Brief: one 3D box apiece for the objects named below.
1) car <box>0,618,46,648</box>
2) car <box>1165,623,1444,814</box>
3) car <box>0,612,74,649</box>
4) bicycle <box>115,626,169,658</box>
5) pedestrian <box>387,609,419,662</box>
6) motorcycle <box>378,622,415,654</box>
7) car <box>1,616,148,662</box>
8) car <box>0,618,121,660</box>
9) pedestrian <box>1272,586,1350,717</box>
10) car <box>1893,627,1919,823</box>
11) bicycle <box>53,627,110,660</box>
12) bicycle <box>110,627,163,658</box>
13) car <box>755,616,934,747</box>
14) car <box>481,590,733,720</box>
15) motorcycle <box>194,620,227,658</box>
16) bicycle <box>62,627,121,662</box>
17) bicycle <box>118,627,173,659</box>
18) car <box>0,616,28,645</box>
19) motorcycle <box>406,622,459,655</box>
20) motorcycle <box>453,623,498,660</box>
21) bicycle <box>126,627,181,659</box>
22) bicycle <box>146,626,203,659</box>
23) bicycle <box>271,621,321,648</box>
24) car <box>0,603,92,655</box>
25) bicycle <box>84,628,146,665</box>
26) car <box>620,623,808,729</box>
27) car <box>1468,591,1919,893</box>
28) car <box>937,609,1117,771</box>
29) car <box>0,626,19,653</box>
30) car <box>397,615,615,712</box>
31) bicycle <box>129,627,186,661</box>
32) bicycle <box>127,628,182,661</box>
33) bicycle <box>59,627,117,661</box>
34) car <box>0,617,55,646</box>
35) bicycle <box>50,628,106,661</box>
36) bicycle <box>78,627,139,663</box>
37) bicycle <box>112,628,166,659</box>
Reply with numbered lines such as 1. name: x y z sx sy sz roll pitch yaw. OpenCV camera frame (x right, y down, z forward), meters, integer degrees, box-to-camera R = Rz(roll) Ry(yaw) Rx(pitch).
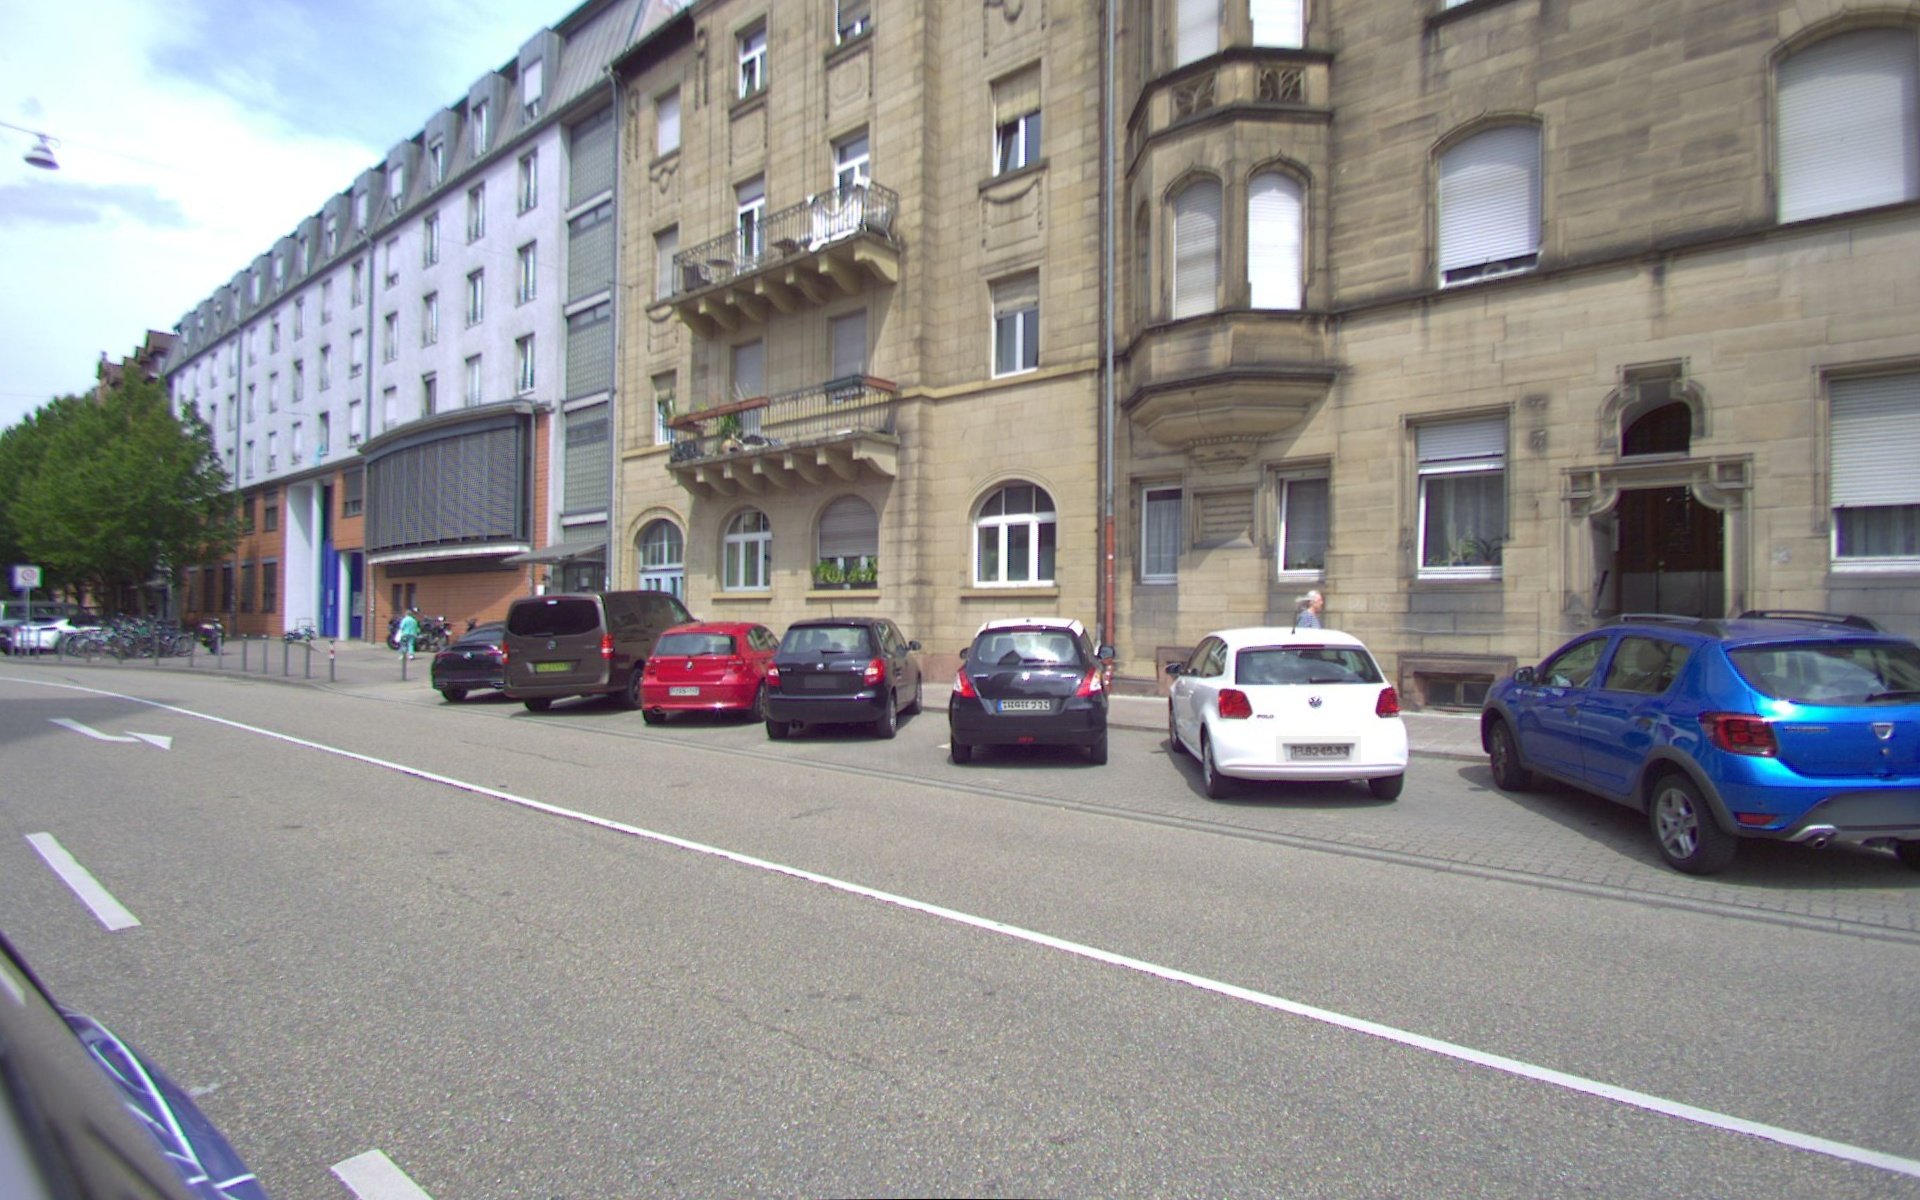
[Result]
1. car: -48.504 1.656 50.633 1.671 1.465 3.996 -1 -2 8
2. car: 3.088 0.974 9.851 1.720 1.493 3.680 0 -1 5
3. car: -42.607 1.374 45.548 1.692 1.627 3.996 -1 -2 8
4. bicycle: -27.732 1.410 34.324 0.402 1.034 1.390 -2 -1 43
5. pedestrian: -16.097 1.026 29.252 0.508 1.497 0.653 -1 -2 39
6. motorcycle: -19.260 1.287 34.577 1.656 1.057 0.577 -2 -1 40
7. car: -32.008 1.380 36.748 1.583 1.557 3.997 0 -1 7
8. car: -34.093 1.417 37.731 1.697 1.480 4.306 0 -1 7
9. pedestrian: 4.525 0.638 13.028 0.678 1.607 0.783 -1 0 41
10. car: 7.849 0.880 5.666 1.814 1.454 3.897 0 -1 5
11. bicycle: -29.396 1.440 33.878 0.402 1.034 1.391 -2 0 43
12. bicycle: -28.657 1.458 35.215 0.402 1.034 1.390 -2 -1 43
13. car: -1.415 0.998 13.845 1.612 1.514 3.989 0 -1 6
14. car: -5.878 0.886 17.742 2.096 1.924 5.259 0 -1 7
15. motorcycle: -24.715 1.280 33.365 1.779 1.181 0.577 -2 -1 43
16. bicycle: -27.968 1.415 32.604 0.402 1.046 1.391 -2 0 43
17. bicycle: -27.367 1.431 34.003 0.402 1.034 1.390 -2 -1 43
18. car: -54.517 1.713 56.168 1.671 1.580 3.996 -1 -2 8
19. motorcycle: -17.207 1.250 33.009 1.959 1.057 0.579 -2 -1 30
20. motorcycle: -14.559 1.229 30.411 1.793 1.057 0.577 -2 -1 42
21. bicycle: -26.699 1.421 33.526 0.402 1.034 1.390 -2 -1 43
22. bicycle: -24.928 1.338 32.114 0.402 1.034 1.390 -2 -1 43
23. bicycle: -27.359 1.408 41.714 1.590 0.933 0.933 -6 2 -37
24. car: -38.465 1.160 41.608 1.841 2.013 3.993 0 0 10
25. bicycle: -25.699 1.407 30.804 0.402 1.046 1.391 -2 0 43
26. car: -3.589 1.063 15.512 1.772 1.420 4.009 0 -1 2
27. car: 5.446 0.831 7.480 1.703 1.664 3.772 0 -1 5
28. car: 0.951 0.931 12.016 1.776 1.576 4.000 0 -1 9
29. car: -56.562 2.284 57.784 1.671 1.580 3.996 -1 -2 8
30. car: -8.401 1.094 19.279 1.875 1.420 4.668 -2 1 2
31. bicycle: -25.991 1.418 32.783 0.402 1.034 1.390 -2 -1 43
32. bicycle: -26.377 1.453 33.154 0.402 1.034 1.390 -2 -1 43
33. bicycle: -28.451 1.421 33.026 0.402 1.034 1.391 -2 0 43
34. car: -46.778 1.523 49.253 1.578 1.400 3.996 -1 -2 8
35. bicycle: -29.996 1.491 34.417 0.402 1.034 1.391 -2 0 43
36. bicycle: -26.394 1.386 31.365 0.402 1.046 1.391 -2 0 43
37. bicycle: -28.228 1.475 34.808 0.402 1.034 1.390 -2 -1 43
